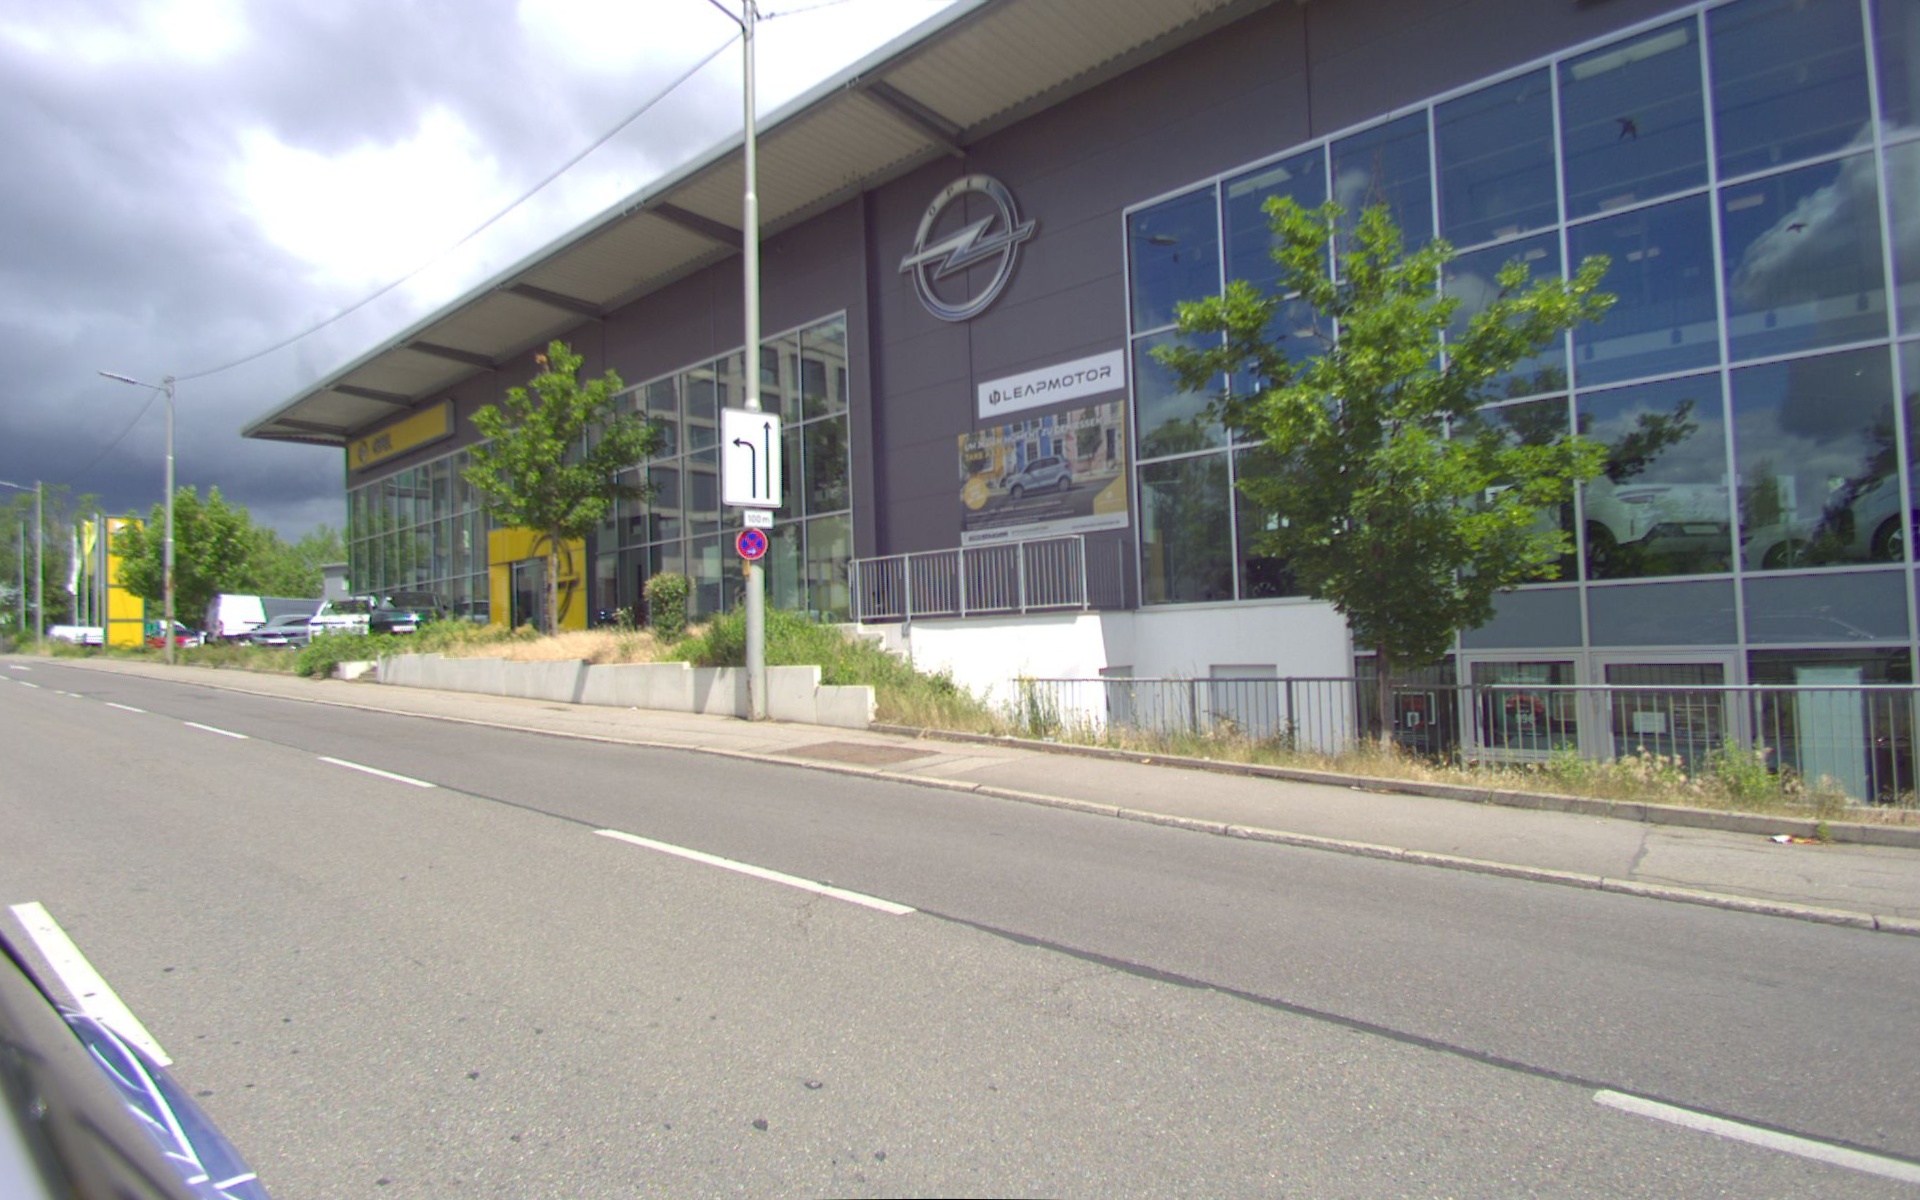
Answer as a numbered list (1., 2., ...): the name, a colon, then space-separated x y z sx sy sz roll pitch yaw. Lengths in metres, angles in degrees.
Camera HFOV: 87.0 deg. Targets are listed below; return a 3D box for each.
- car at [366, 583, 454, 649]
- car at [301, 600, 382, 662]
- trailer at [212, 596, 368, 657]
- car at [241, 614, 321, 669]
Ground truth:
1. car: -15.697 0.466 28.797 1.966 1.741 4.011 1 -2 -31
2. car: -19.223 0.942 31.585 1.966 1.807 4.012 1 -2 -29
3. trailer: -27.436 1.080 41.600 1.998 2.367 5.011 -1 -2 39
4. car: -23.489 1.401 35.147 1.966 1.807 4.012 1 -1 -29
